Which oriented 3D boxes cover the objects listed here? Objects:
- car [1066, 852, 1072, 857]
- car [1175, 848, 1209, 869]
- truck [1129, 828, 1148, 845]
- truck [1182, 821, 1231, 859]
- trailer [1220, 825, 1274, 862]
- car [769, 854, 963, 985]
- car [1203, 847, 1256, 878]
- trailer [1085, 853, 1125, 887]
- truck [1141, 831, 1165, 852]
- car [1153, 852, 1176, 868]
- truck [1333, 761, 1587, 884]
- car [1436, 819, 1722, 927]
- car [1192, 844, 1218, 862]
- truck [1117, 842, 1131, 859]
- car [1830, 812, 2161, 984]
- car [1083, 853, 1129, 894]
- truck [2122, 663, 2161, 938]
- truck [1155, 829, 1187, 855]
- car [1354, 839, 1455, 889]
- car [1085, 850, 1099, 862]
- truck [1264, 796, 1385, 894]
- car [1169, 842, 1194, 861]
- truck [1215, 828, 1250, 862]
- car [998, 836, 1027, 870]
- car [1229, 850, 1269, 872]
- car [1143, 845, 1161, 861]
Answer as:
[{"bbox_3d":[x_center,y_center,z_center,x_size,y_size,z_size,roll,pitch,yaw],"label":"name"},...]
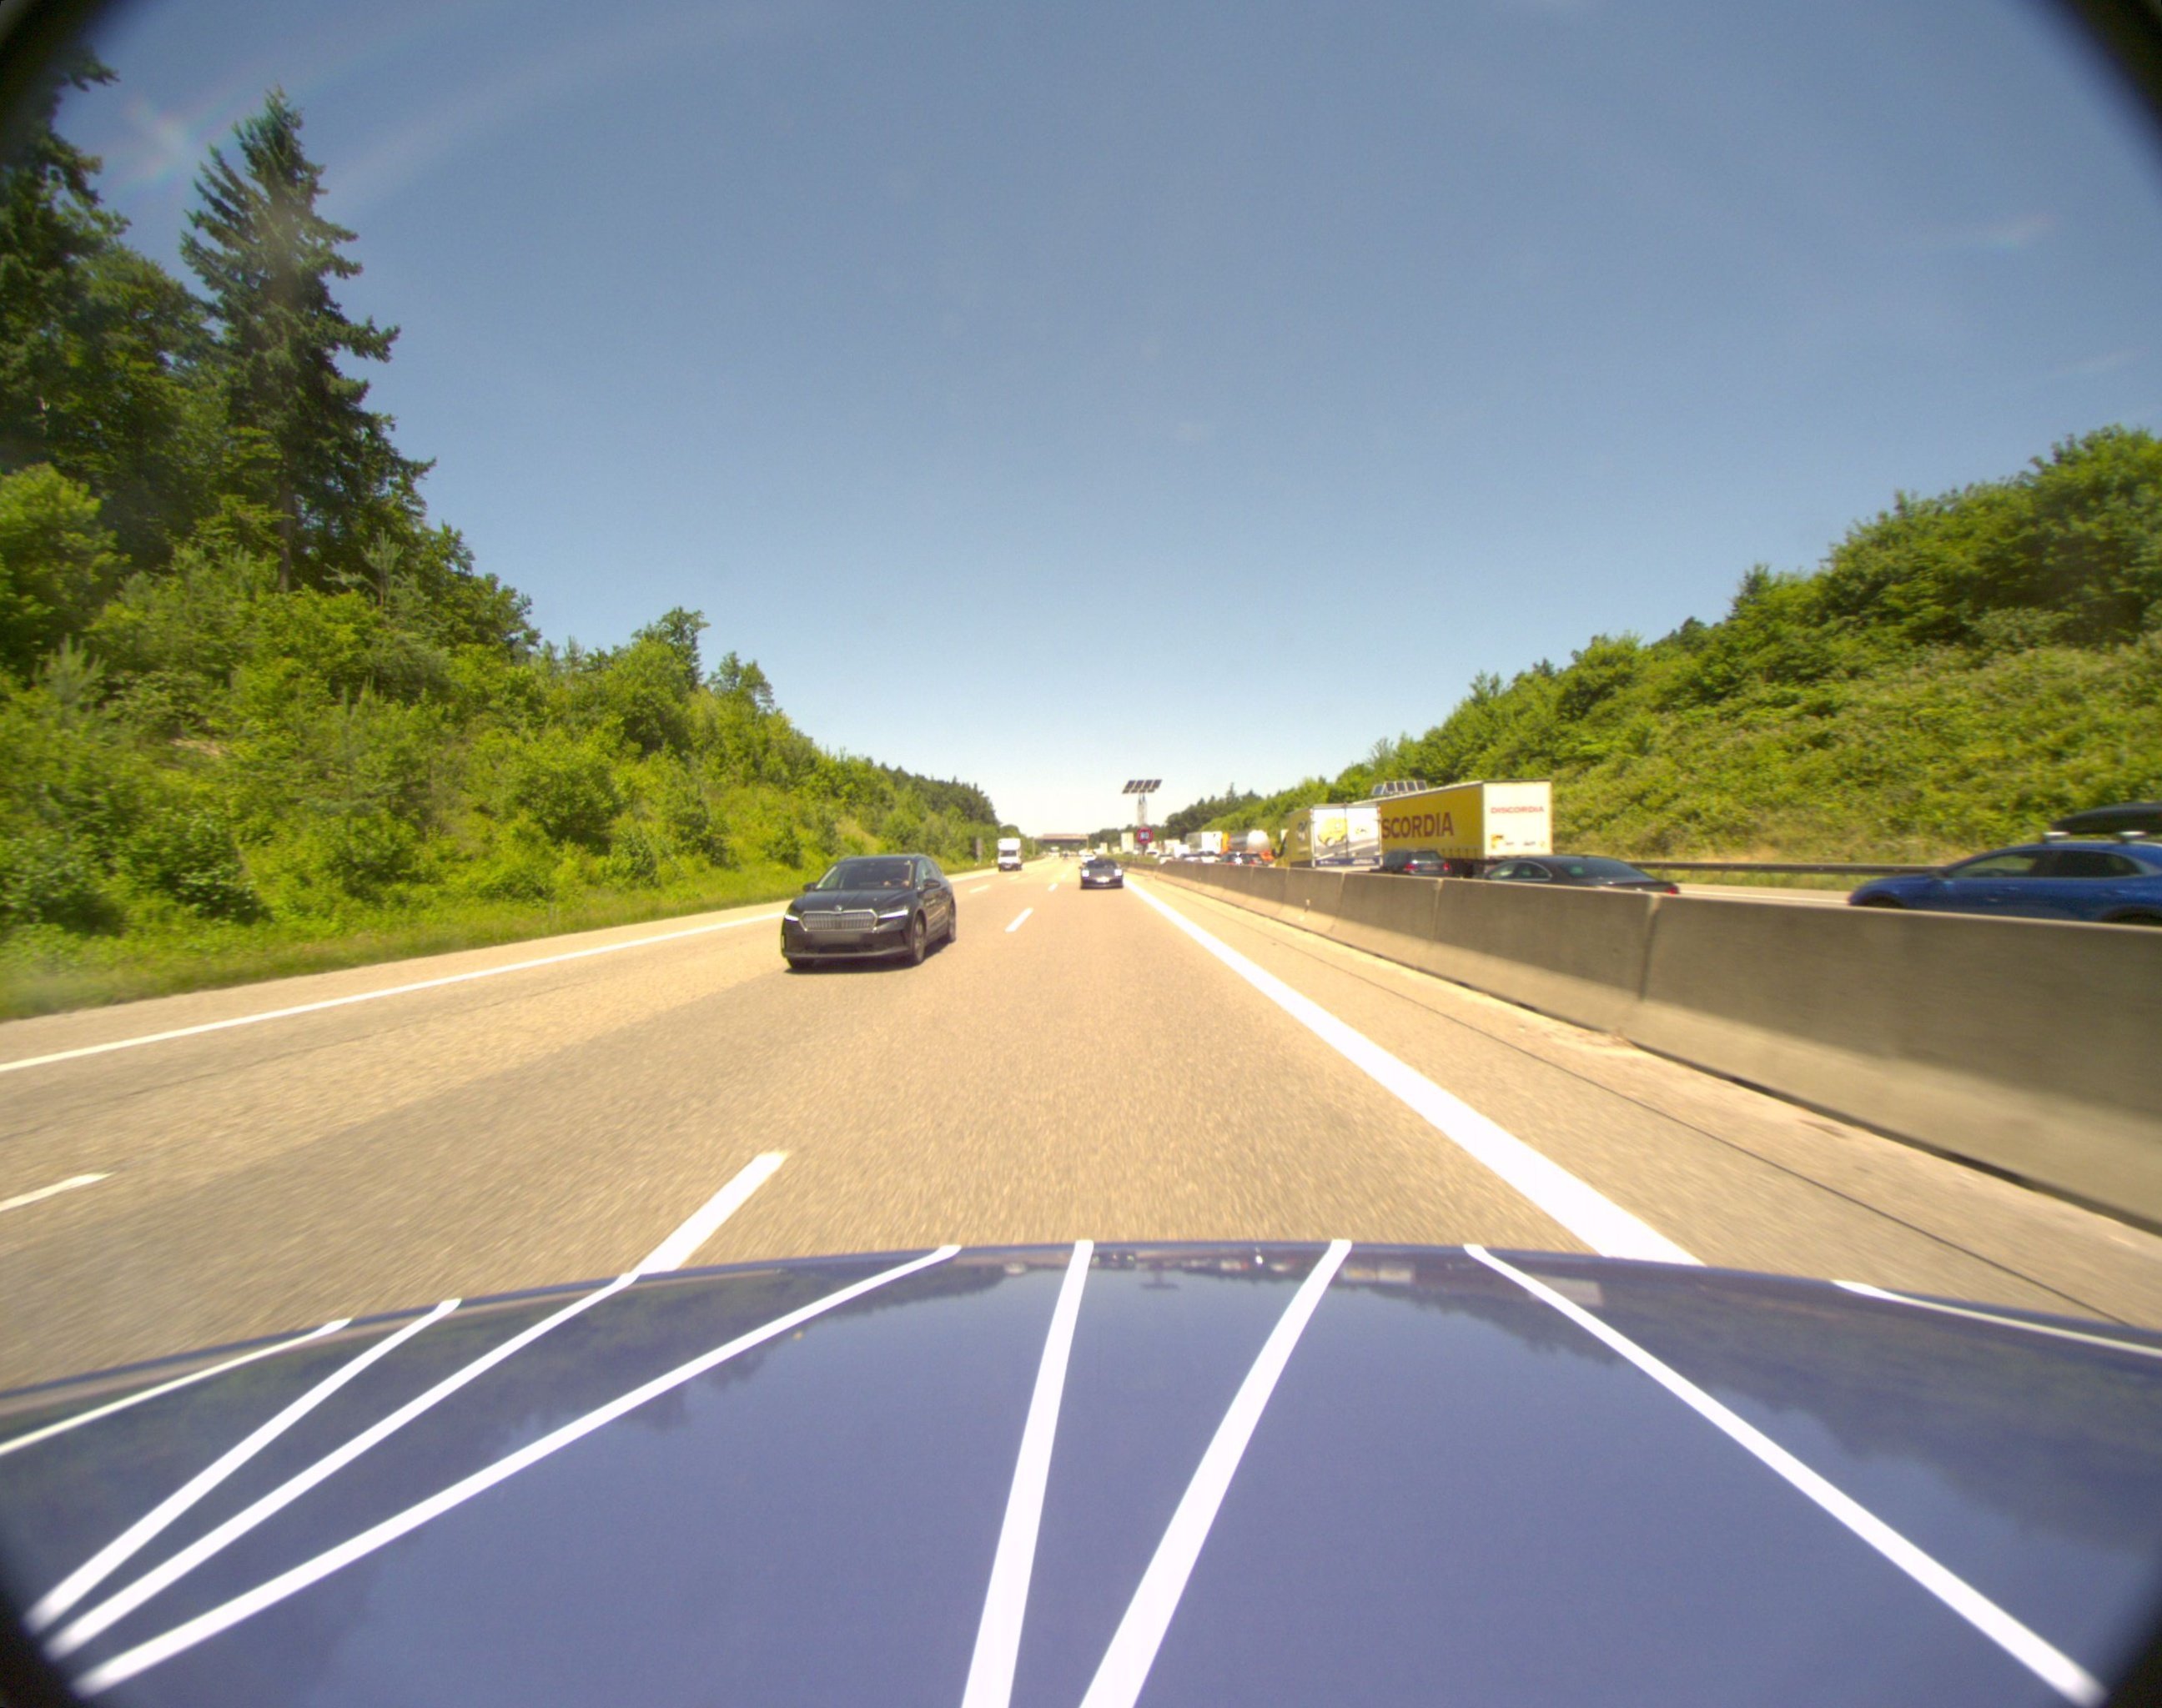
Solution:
[{"bbox_3d":[-3.541,0.076,228.253,1.719,1.432,4.015,-2,1,-1],"label":"car"},{"bbox_3d":[8.677,0.351,59.893,1.832,1.488,4.757,-2,1,-1],"label":"car"},{"bbox_3d":[15.917,-4.788,212.570,3.706,4.431,19.448,-2,1,1],"label":"truck"},{"bbox_3d":[16.611,-1.876,102.123,3.706,4.431,17.378,-2,1,1],"label":"truck"},{"bbox_3d":[16.348,-0.903,75.774,2.584,3.274,11.695,-2,-1,-1],"label":"trailer"},{"bbox_3d":[-3.206,0.871,12.357,1.990,1.610,4.455,-2,1,-2],"label":"car"},{"bbox_3d":[8.113,0.415,41.824,1.832,1.488,4.757,-2,1,-1],"label":"car"},{"bbox_3d":[1.103,0.695,34.125,1.689,1.399,3.046,-1,0,2],"label":"trailer"},{"bbox_3d":[16.695,-2.886,177.866,3.706,4.431,19.448,-2,1,1],"label":"truck"},{"bbox_3d":[8.774,0.600,80.079,1.832,1.488,4.757,-2,1,-1],"label":"car"},{"bbox_3d":[16.907,-1.305,36.808,3.706,4.431,17.378,-2,1,1],"label":"truck"},{"bbox_3d":[8.335,0.238,13.390,1.832,1.488,4.757,-2,1,-1],"label":"car"},{"bbox_3d":[12.872,-0.164,79.037,1.832,1.753,4.757,-2,1,-1],"label":"car"},{"bbox_3d":[14.514,-1.422,257.886,3.706,5.470,19.448,-2,1,1],"label":"truck"},{"bbox_3d":[12.067,0.420,8.816,1.832,1.754,4.989,-2,1,0],"label":"car"},{"bbox_3d":[1.043,0.742,30.780,1.718,1.432,4.457,-1,1,3],"label":"car"},{"bbox_3d":[16.040,-0.730,7.782,2.685,3.722,5.870,-2,1,-1],"label":"truck"},{"bbox_3d":[16.740,-2.287,142.734,3.706,4.431,19.448,-2,1,1],"label":"truck"},{"bbox_3d":[12.614,0.315,30.009,1.832,1.754,4.989,-2,1,0],"label":"car"},{"bbox_3d":[1.414,0.251,99.755,1.718,1.432,4.456,-1,1,0],"label":"car"},{"bbox_3d":[8.450,-0.343,27.185,2.273,2.999,6.776,-2,1,2],"label":"truck"},{"bbox_3d":[12.909,-0.363,98.149,2.190,2.371,6.539,-2,1,0],"label":"car"},{"bbox_3d":[16.224,-0.915,81.607,2.500,3.345,5.186,-2,-1,-1],"label":"truck"},{"bbox_3d":[-7.064,-0.196,79.287,2.303,3.317,7.620,-2,1,0],"label":"car"},{"bbox_3d":[12.705,0.471,57.808,1.832,1.488,4.757,-2,1,-1],"label":"car"},{"bbox_3d":[9.295,-0.128,99.915,1.831,1.966,5.663,-2,1,-1],"label":"car"}]
